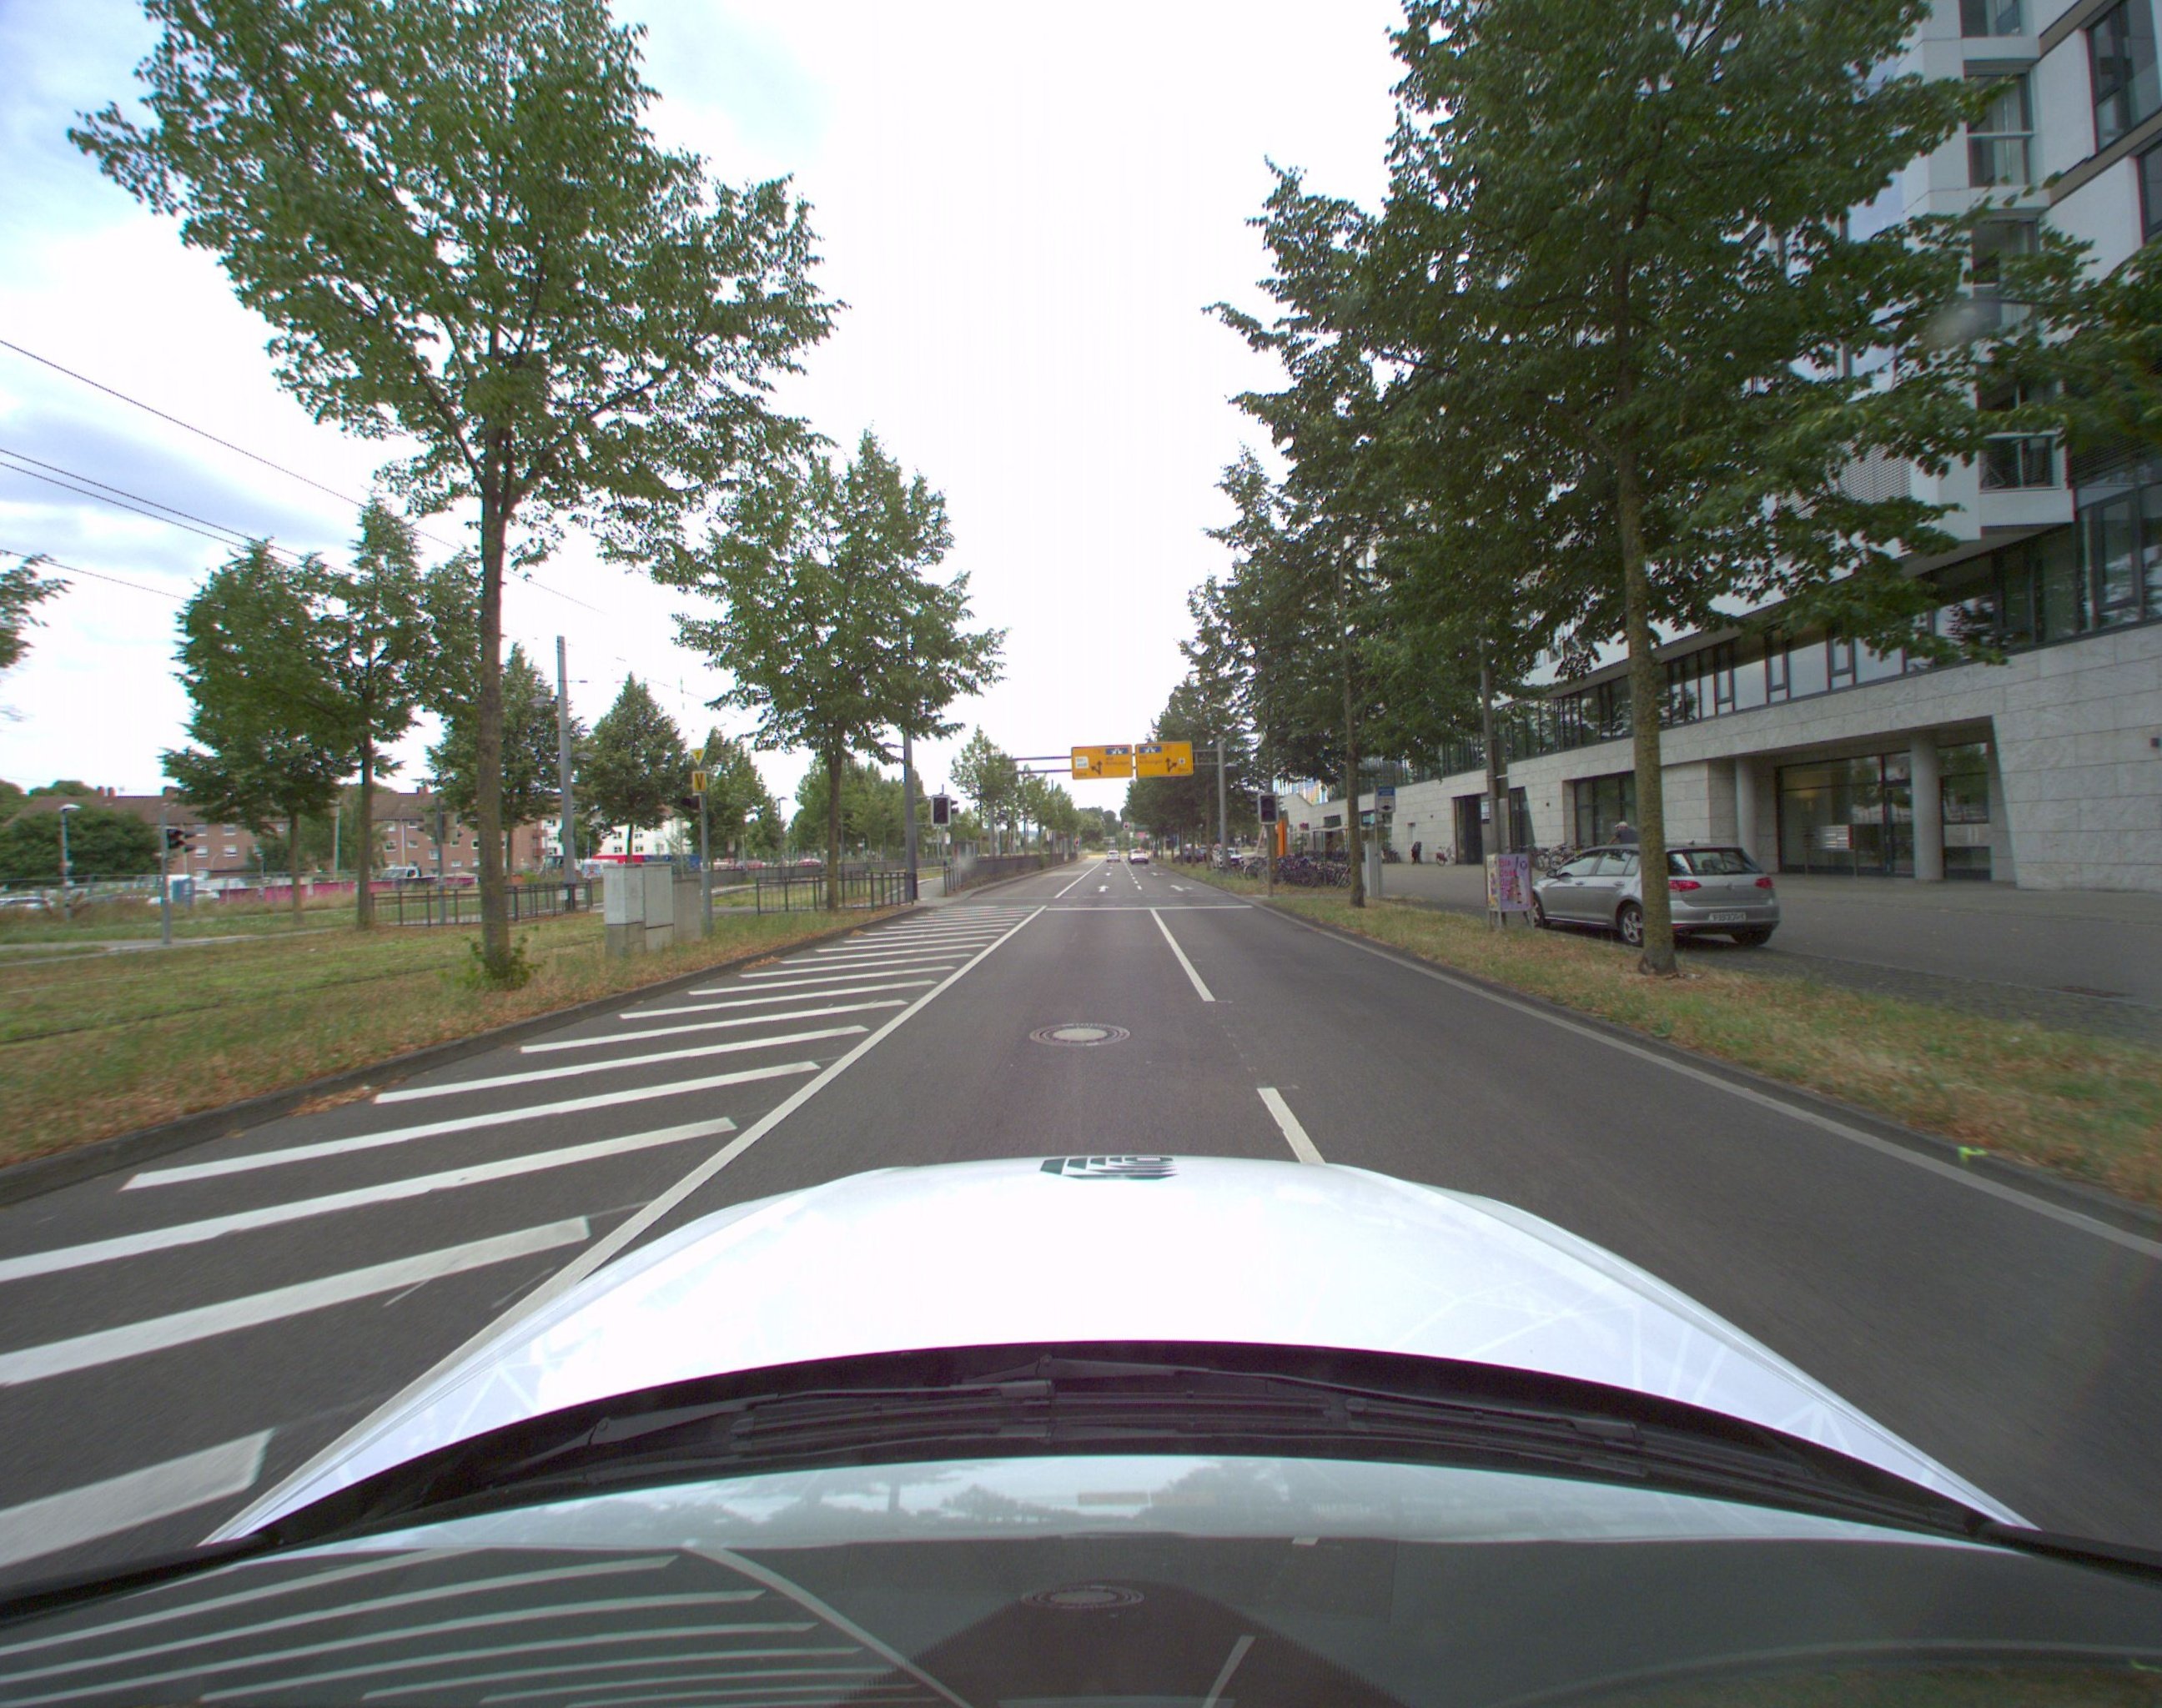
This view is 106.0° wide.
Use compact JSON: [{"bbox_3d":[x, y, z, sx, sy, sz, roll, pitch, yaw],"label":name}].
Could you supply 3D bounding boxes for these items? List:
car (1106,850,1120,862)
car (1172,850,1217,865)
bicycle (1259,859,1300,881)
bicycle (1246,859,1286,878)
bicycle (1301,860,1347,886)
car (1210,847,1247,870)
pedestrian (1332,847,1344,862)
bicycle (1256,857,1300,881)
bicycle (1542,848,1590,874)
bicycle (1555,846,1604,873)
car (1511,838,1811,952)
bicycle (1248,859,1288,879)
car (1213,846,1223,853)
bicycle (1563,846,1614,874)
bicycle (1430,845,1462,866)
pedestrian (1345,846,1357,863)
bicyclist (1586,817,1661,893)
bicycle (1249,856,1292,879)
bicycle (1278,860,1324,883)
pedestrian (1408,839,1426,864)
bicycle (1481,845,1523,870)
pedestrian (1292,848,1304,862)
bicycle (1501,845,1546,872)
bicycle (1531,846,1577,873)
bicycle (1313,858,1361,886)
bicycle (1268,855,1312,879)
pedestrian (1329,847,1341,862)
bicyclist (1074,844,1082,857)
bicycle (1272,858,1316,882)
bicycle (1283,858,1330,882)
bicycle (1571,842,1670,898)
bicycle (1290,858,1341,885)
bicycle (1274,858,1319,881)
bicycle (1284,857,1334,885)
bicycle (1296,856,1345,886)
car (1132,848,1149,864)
[{"bbox_3d":[4.204,0.273,107.632,1.767,1.448,3.911,-2,0,1],"label":"car"},{"bbox_3d":[11.768,0.401,84.749,1.954,1.475,4.821,-2,0,-32],"label":"car"},{"bbox_3d":[9.117,0.733,37.424,1.741,0.974,0.608,1,0,-7],"label":"bicycle"},{"bbox_3d":[9.436,0.732,41.568,1.855,0.951,0.652,1,0,-1],"label":"bicycle"},{"bbox_3d":[8.830,0.684,29.573,1.524,0.953,0.484,0,0,-1],"label":"bicycle"},{"bbox_3d":[10.619,0.290,58.818,1.931,1.552,4.595,-2,0,2],"label":"car"},{"bbox_3d":[20.623,0.023,65.318,0.715,1.192,0.760,-2,0,4],"label":"pedestrian"},{"bbox_3d":[9.202,0.692,38.068,1.927,1.065,0.542,1,0,-7],"label":"bicycle"},{"bbox_3d":[18.814,0.265,31.572,1.524,0.953,0.533,-2,0,-1],"label":"bicycle"},{"bbox_3d":[18.807,0.215,30.747,1.524,0.953,0.533,-2,0,-1],"label":"bicycle"},{"bbox_3d":[8.533,0.519,12.527,1.753,1.421,4.185,-2,0,2],"label":"car"},{"bbox_3d":[9.371,0.727,40.828,1.855,0.951,0.612,1,0,-1],"label":"bicycle"},{"bbox_3d":[31.261,-1.003,185.662,1.771,1.636,4.417,-2,0,12],"label":"car"},{"bbox_3d":[18.771,0.212,30.142,1.524,0.953,0.533,-2,0,-1],"label":"bicycle"},{"bbox_3d":[19.512,0.091,43.524,1.605,1.026,0.605,-3,0,-25],"label":"bicycle"},{"bbox_3d":[19.412,0.034,58.507,0.766,1.192,1.111,-2,0,17],"label":"pedestrian"},{"bbox_3d":[13.356,0.020,20.084,0.993,1.737,1.129,-5,0,1],"label":"bicyclist"},{"bbox_3d":[9.330,0.671,40.136,1.924,1.065,0.705,1,0,-1],"label":"bicycle"},{"bbox_3d":[8.964,0.705,33.173,1.712,0.906,0.587,1,0,-7],"label":"bicycle"},{"bbox_3d":[19.575,-0.151,47.433,0.752,1.407,0.723,-2,0,9],"label":"pedestrian"},{"bbox_3d":[18.698,0.173,36.183,1.593,1.026,0.533,-3,0,-1],"label":"bicycle"},{"bbox_3d":[19.965,0.058,75.006,0.893,1.228,0.952,-2,0,7],"label":"pedestrian"},{"bbox_3d":[18.652,0.179,34.338,1.593,1.026,0.533,-3,0,-1],"label":"bicycle"},{"bbox_3d":[18.884,0.212,32.512,1.524,1.026,0.533,-2,0,-1],"label":"bicycle"},{"bbox_3d":[9.057,0.628,28.795,1.524,0.953,0.552,0,0,-1],"label":"bicycle"},{"bbox_3d":[9.014,0.549,35.118,1.741,0.974,0.608,1,0,-7],"label":"bicycle"},{"bbox_3d":[20.672,0.028,66.168,0.716,1.192,0.759,-2,0,1],"label":"pedestrian"},{"bbox_3d":[-0.476,-0.561,122.250,0.738,1.885,0.722,-4,1,-39],"label":"bicyclist"},{"bbox_3d":[9.018,0.688,34.467,1.712,0.974,0.608,1,0,-7],"label":"bicycle"},{"bbox_3d":[9.020,0.645,32.557,1.712,0.906,0.587,1,0,-7],"label":"bicycle"},{"bbox_3d":[13.375,0.380,20.292,0.899,1.235,2.269,-5,0,1],"label":"bicycle"},{"bbox_3d":[8.959,0.679,31.137,1.770,1.012,0.609,0,0,-7],"label":"bicycle"},{"bbox_3d":[8.927,0.637,33.809,1.712,0.906,0.587,1,0,-7],"label":"bicycle"},{"bbox_3d":[8.897,0.661,31.832,1.770,1.012,0.609,1,0,-7],"label":"bicycle"},{"bbox_3d":[8.917,0.619,30.308,1.663,1.090,0.525,0,0,-1],"label":"bicycle"},{"bbox_3d":[6.436,0.171,88.336,1.771,1.656,4.026,-2,0,3],"label":"car"}]
